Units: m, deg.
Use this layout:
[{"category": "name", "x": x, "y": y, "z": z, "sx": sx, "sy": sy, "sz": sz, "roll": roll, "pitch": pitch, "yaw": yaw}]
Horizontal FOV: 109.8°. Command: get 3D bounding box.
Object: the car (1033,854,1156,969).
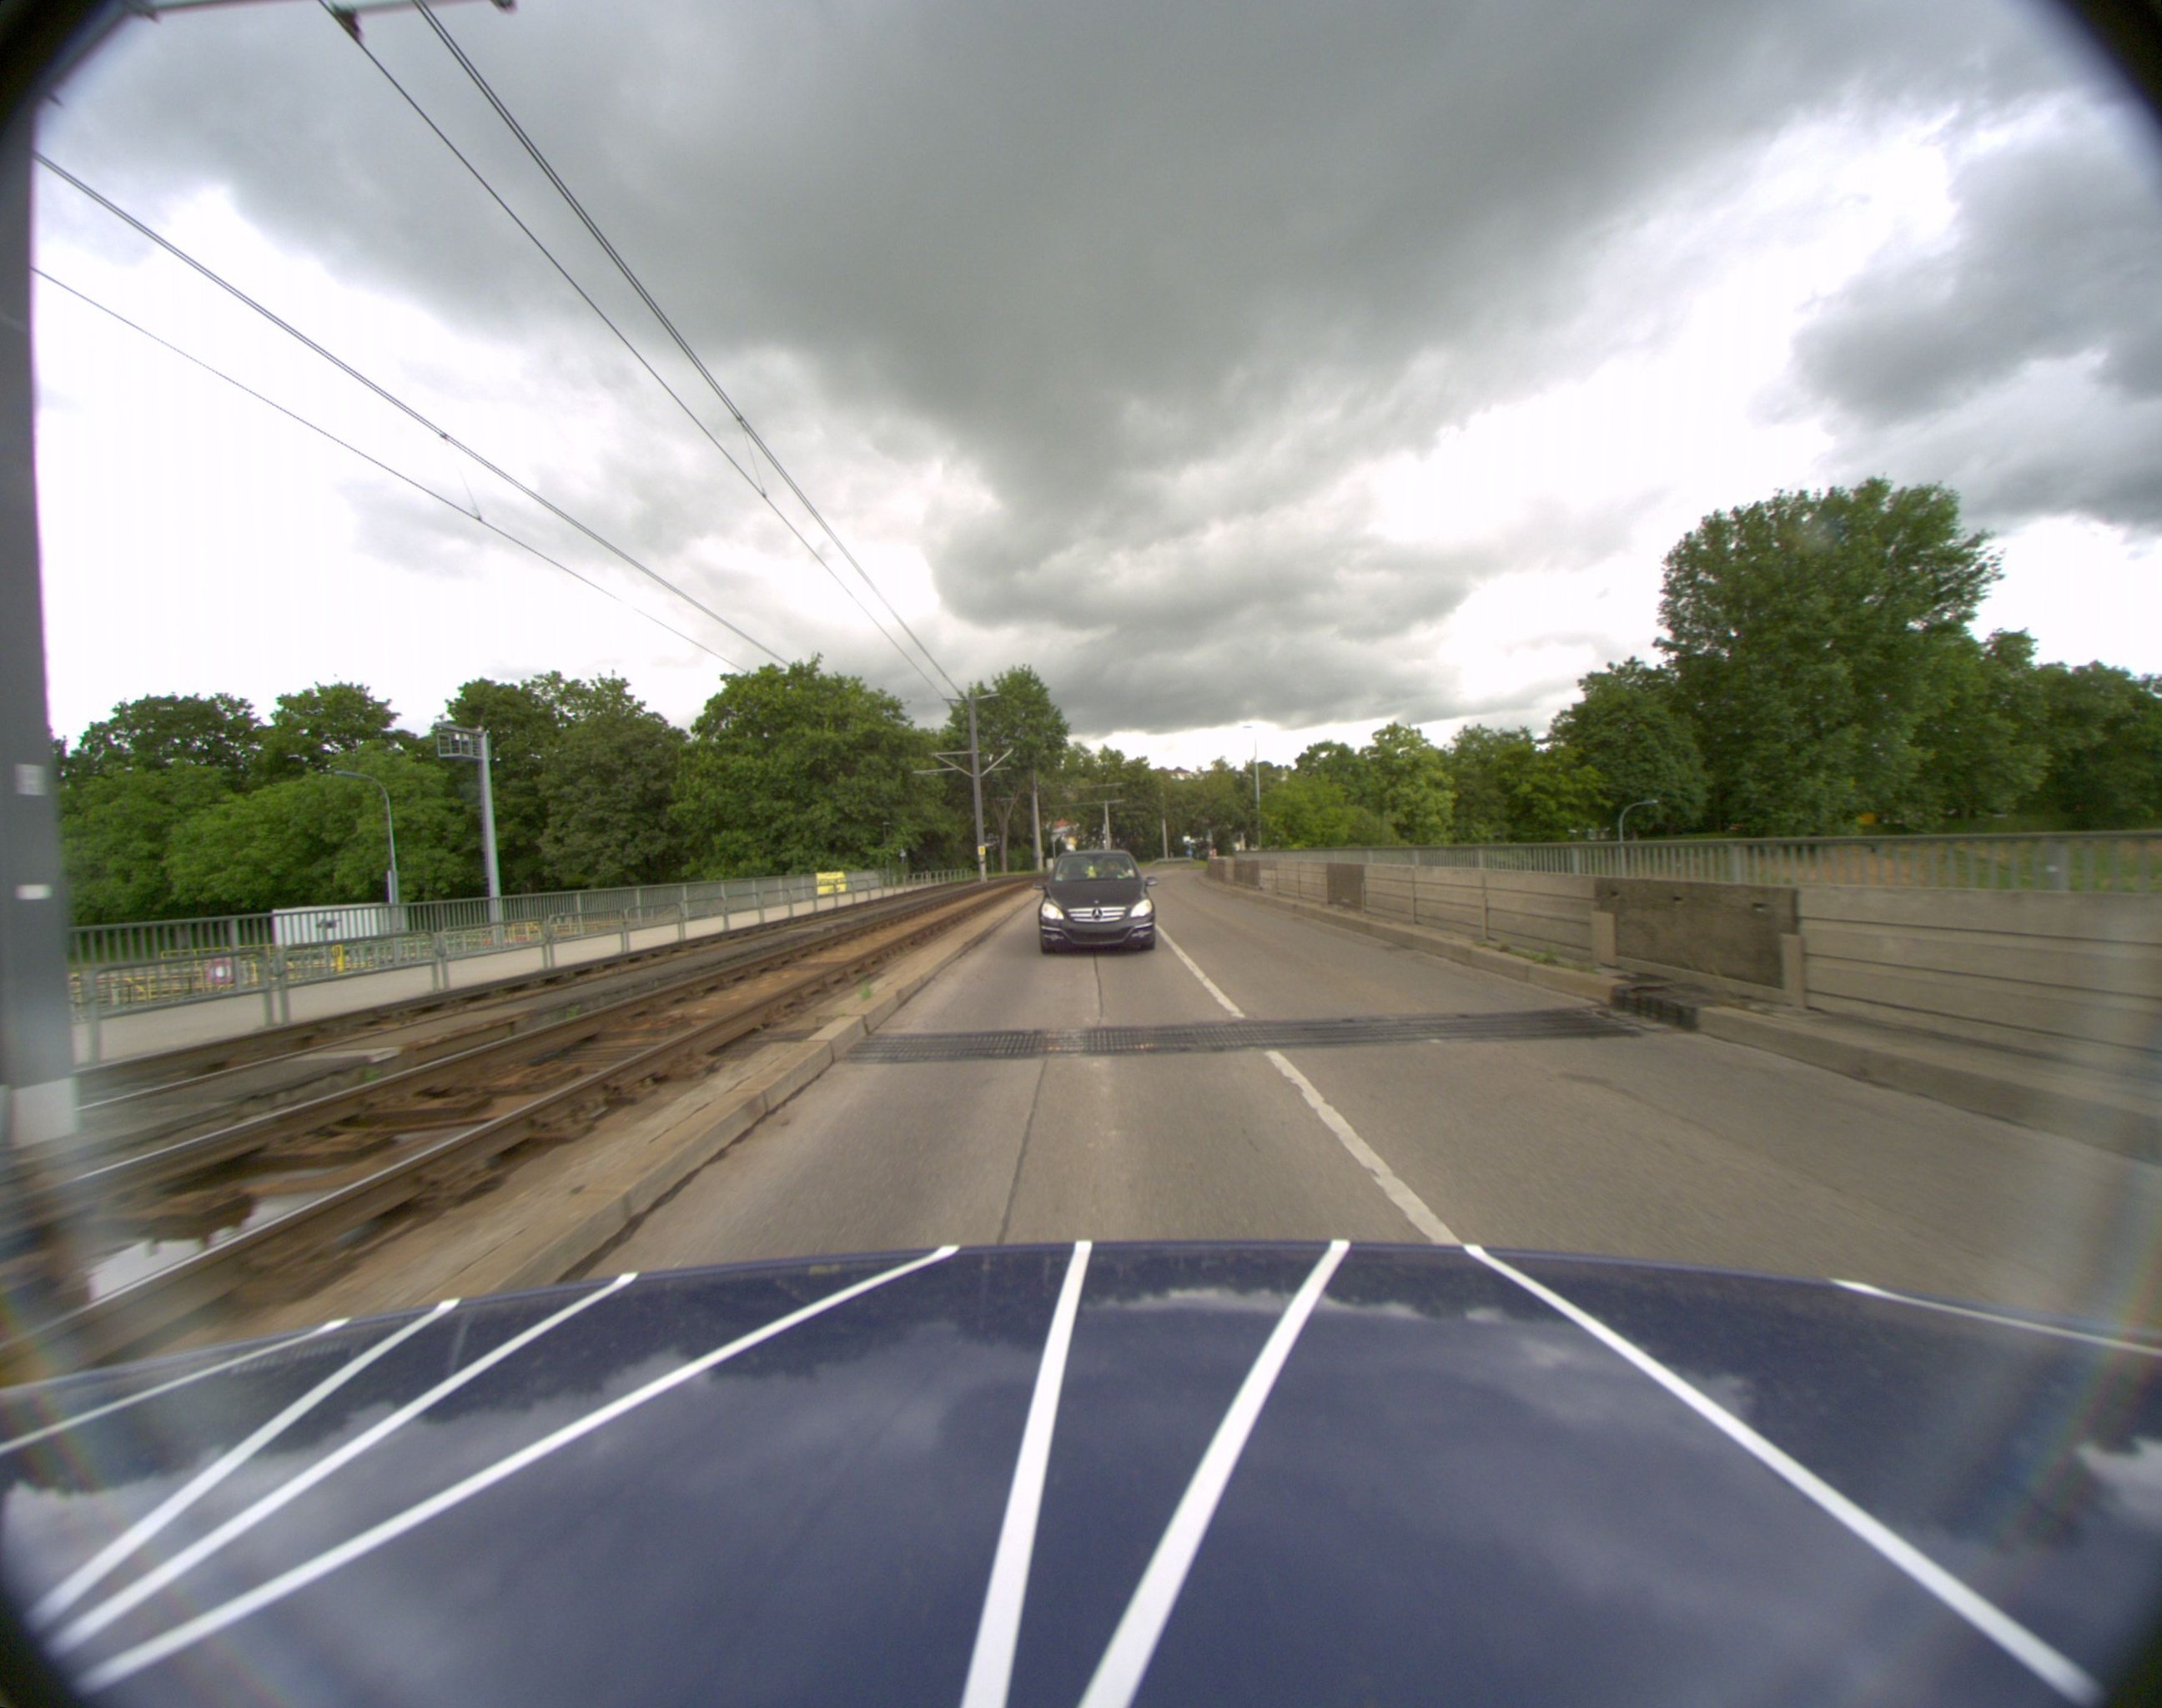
[{"category": "car", "x": 0.200, "y": 0.823, "z": 13.046, "sx": 1.711, "sy": 1.573, "sz": 4.442, "roll": -2, "pitch": 0, "yaw": 0}]
